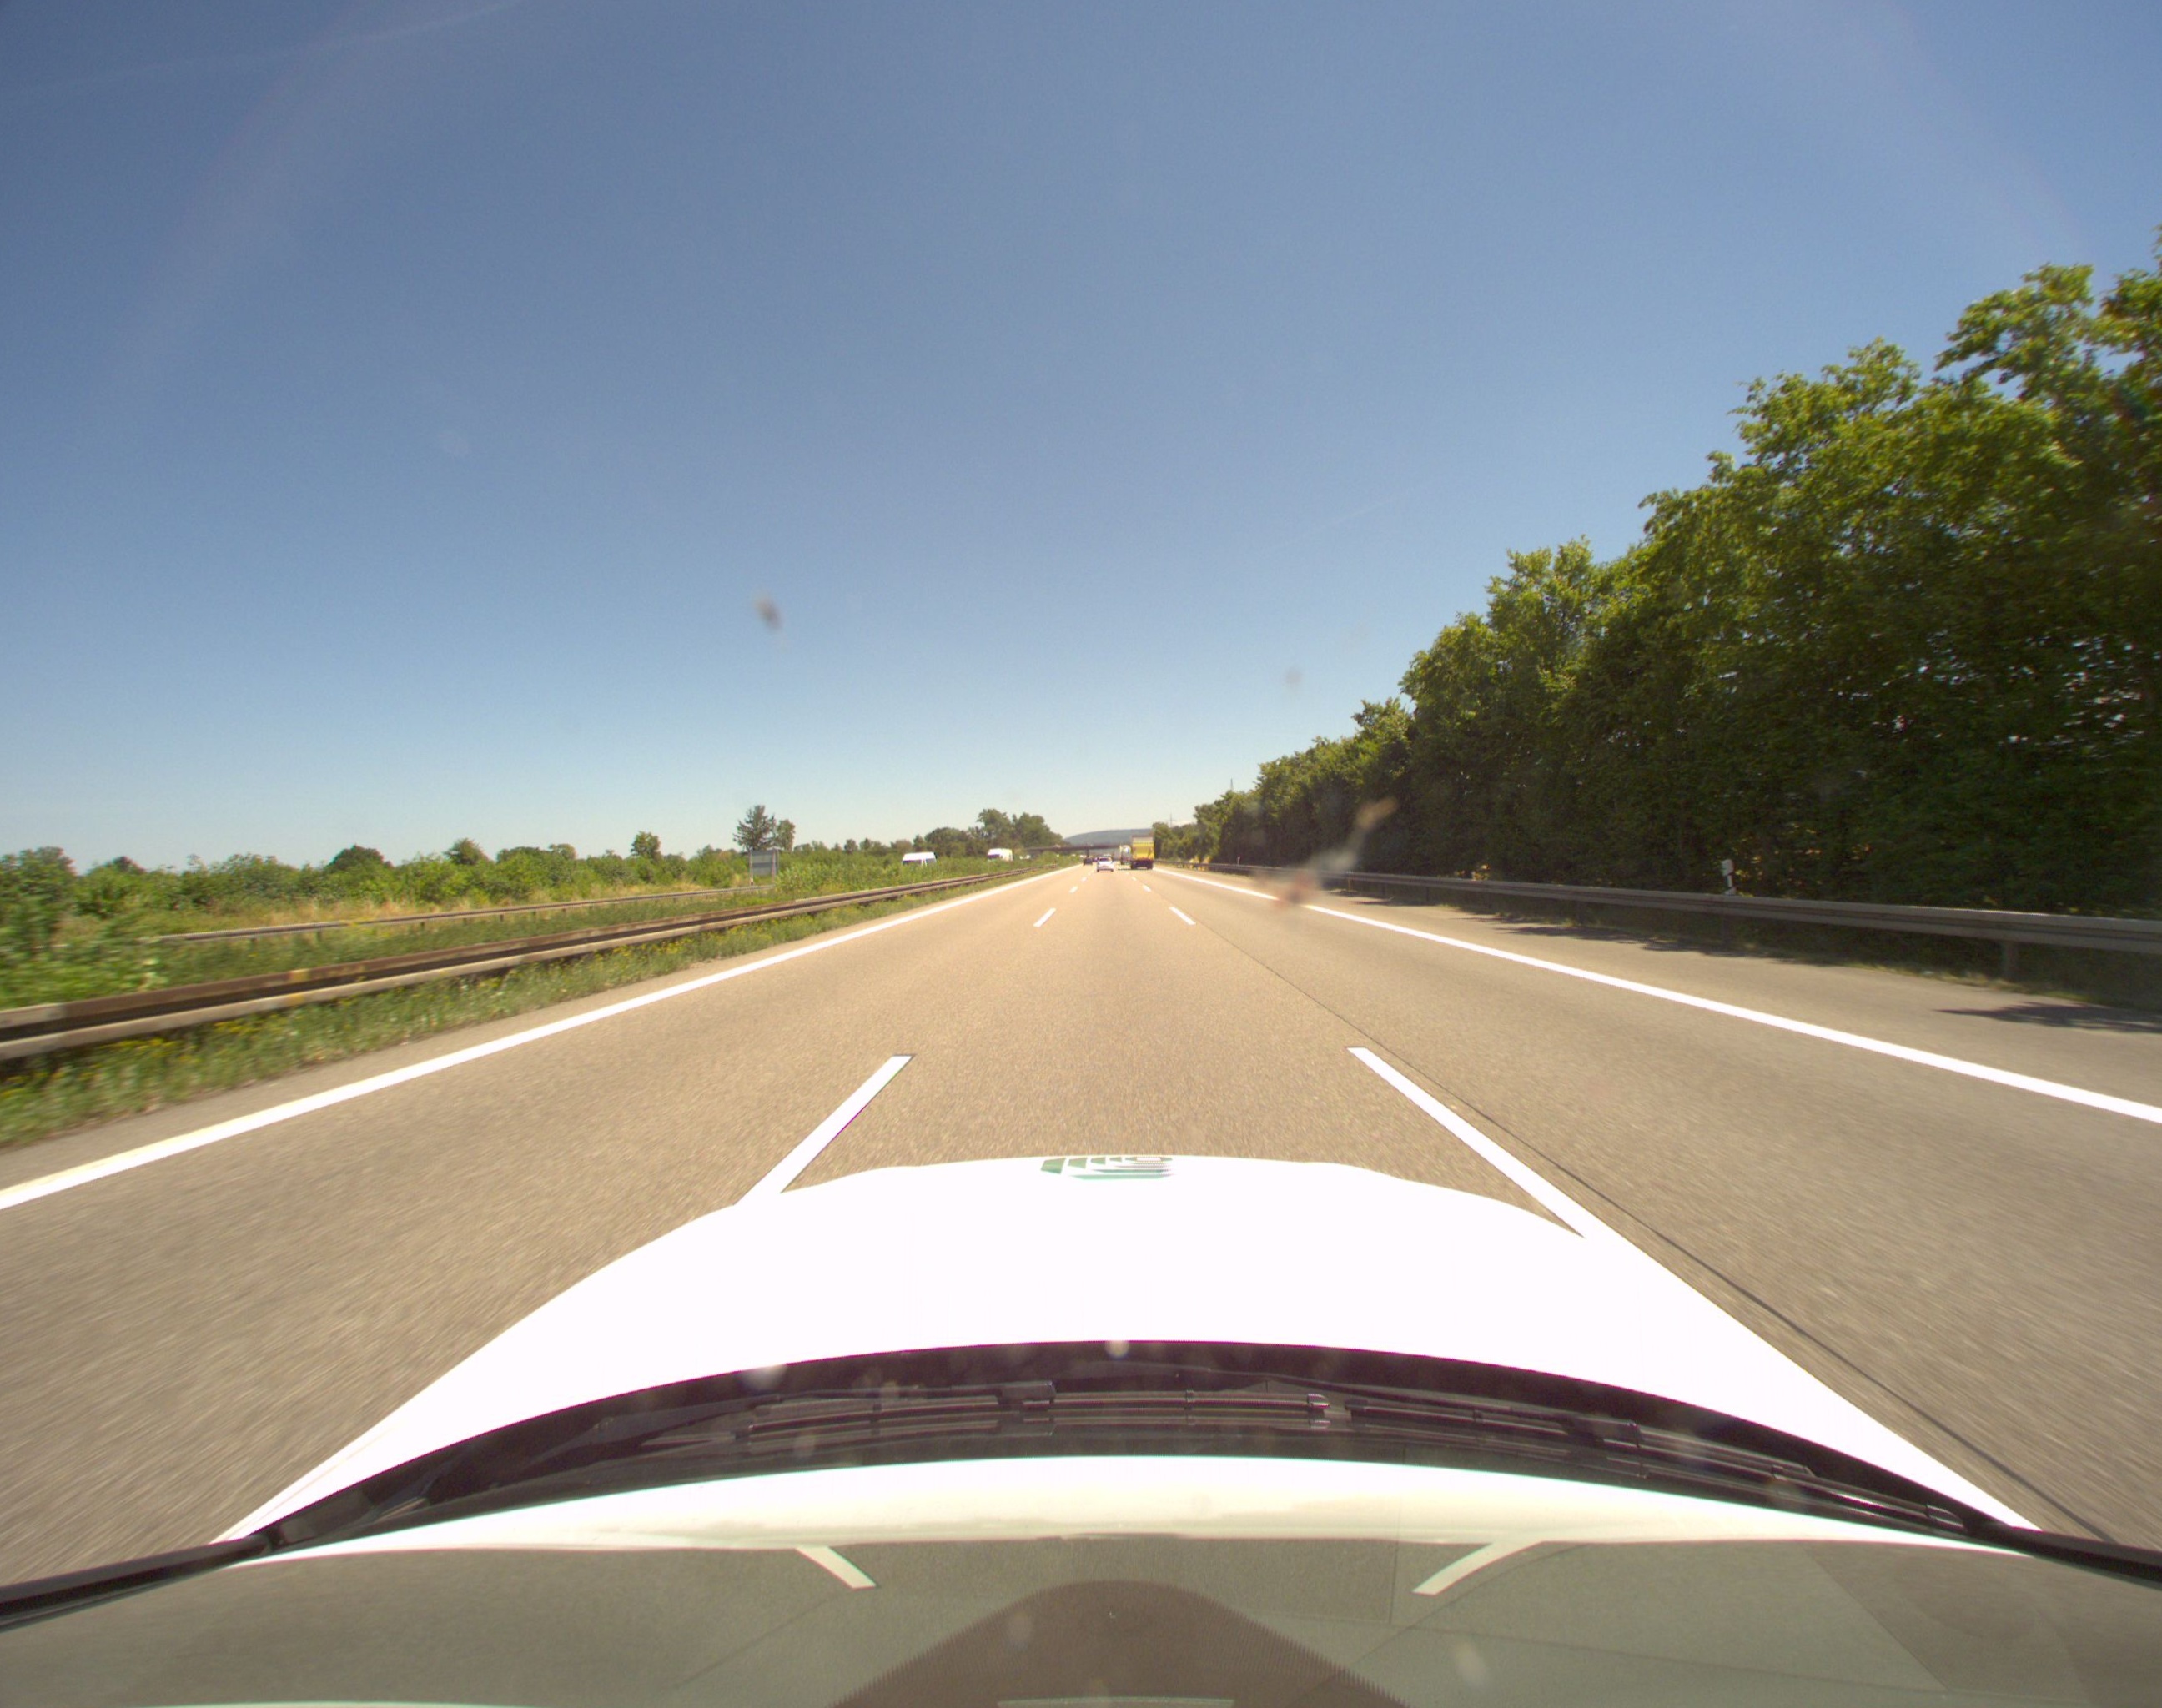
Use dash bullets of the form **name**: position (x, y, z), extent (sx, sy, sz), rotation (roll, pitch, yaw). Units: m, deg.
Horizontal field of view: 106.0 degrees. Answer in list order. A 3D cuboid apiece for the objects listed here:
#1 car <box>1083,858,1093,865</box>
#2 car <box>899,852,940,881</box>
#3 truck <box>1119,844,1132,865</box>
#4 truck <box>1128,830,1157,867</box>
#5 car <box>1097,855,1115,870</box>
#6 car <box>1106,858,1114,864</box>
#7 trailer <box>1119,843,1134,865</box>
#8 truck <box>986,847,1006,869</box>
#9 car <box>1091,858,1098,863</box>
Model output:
- **car**: position (1.377, 1.431, 157.896), extent (1.828, 1.386, 4.002), rotation (0, 0, 2)
- **car**: position (-14.043, 1.068, 71.136), extent (2.073, 2.394, 6.734), rotation (0, 0, 1)
- **truck**: position (8.938, 0.095, 163.856), extent (2.564, 4.072, 6.394), rotation (0, 0, 1)
- **truck**: position (7.316, -0.554, 98.292), extent (2.922, 4.200, 10.684), rotation (0, 0, 2)
- **car**: position (2.559, 0.899, 83.765), extent (1.799, 1.468, 4.002), rotation (0, 0, 2)
- **car**: position (7.132, 1.796, 201.239), extent (1.828, 1.386, 4.002), rotation (0, 0, 2)
- **trailer**: position (8.821, 0.076, 158.978), extent (2.570, 4.074, 11.105), rotation (0, 0, 1)
- **truck**: position (-15.711, 0.751, 150.439), extent (2.923, 3.870, 5.753), rotation (0, 0, 1)
- **car**: position (3.927, 1.922, 229.903), extent (1.828, 1.386, 4.002), rotation (0, 0, 2)
